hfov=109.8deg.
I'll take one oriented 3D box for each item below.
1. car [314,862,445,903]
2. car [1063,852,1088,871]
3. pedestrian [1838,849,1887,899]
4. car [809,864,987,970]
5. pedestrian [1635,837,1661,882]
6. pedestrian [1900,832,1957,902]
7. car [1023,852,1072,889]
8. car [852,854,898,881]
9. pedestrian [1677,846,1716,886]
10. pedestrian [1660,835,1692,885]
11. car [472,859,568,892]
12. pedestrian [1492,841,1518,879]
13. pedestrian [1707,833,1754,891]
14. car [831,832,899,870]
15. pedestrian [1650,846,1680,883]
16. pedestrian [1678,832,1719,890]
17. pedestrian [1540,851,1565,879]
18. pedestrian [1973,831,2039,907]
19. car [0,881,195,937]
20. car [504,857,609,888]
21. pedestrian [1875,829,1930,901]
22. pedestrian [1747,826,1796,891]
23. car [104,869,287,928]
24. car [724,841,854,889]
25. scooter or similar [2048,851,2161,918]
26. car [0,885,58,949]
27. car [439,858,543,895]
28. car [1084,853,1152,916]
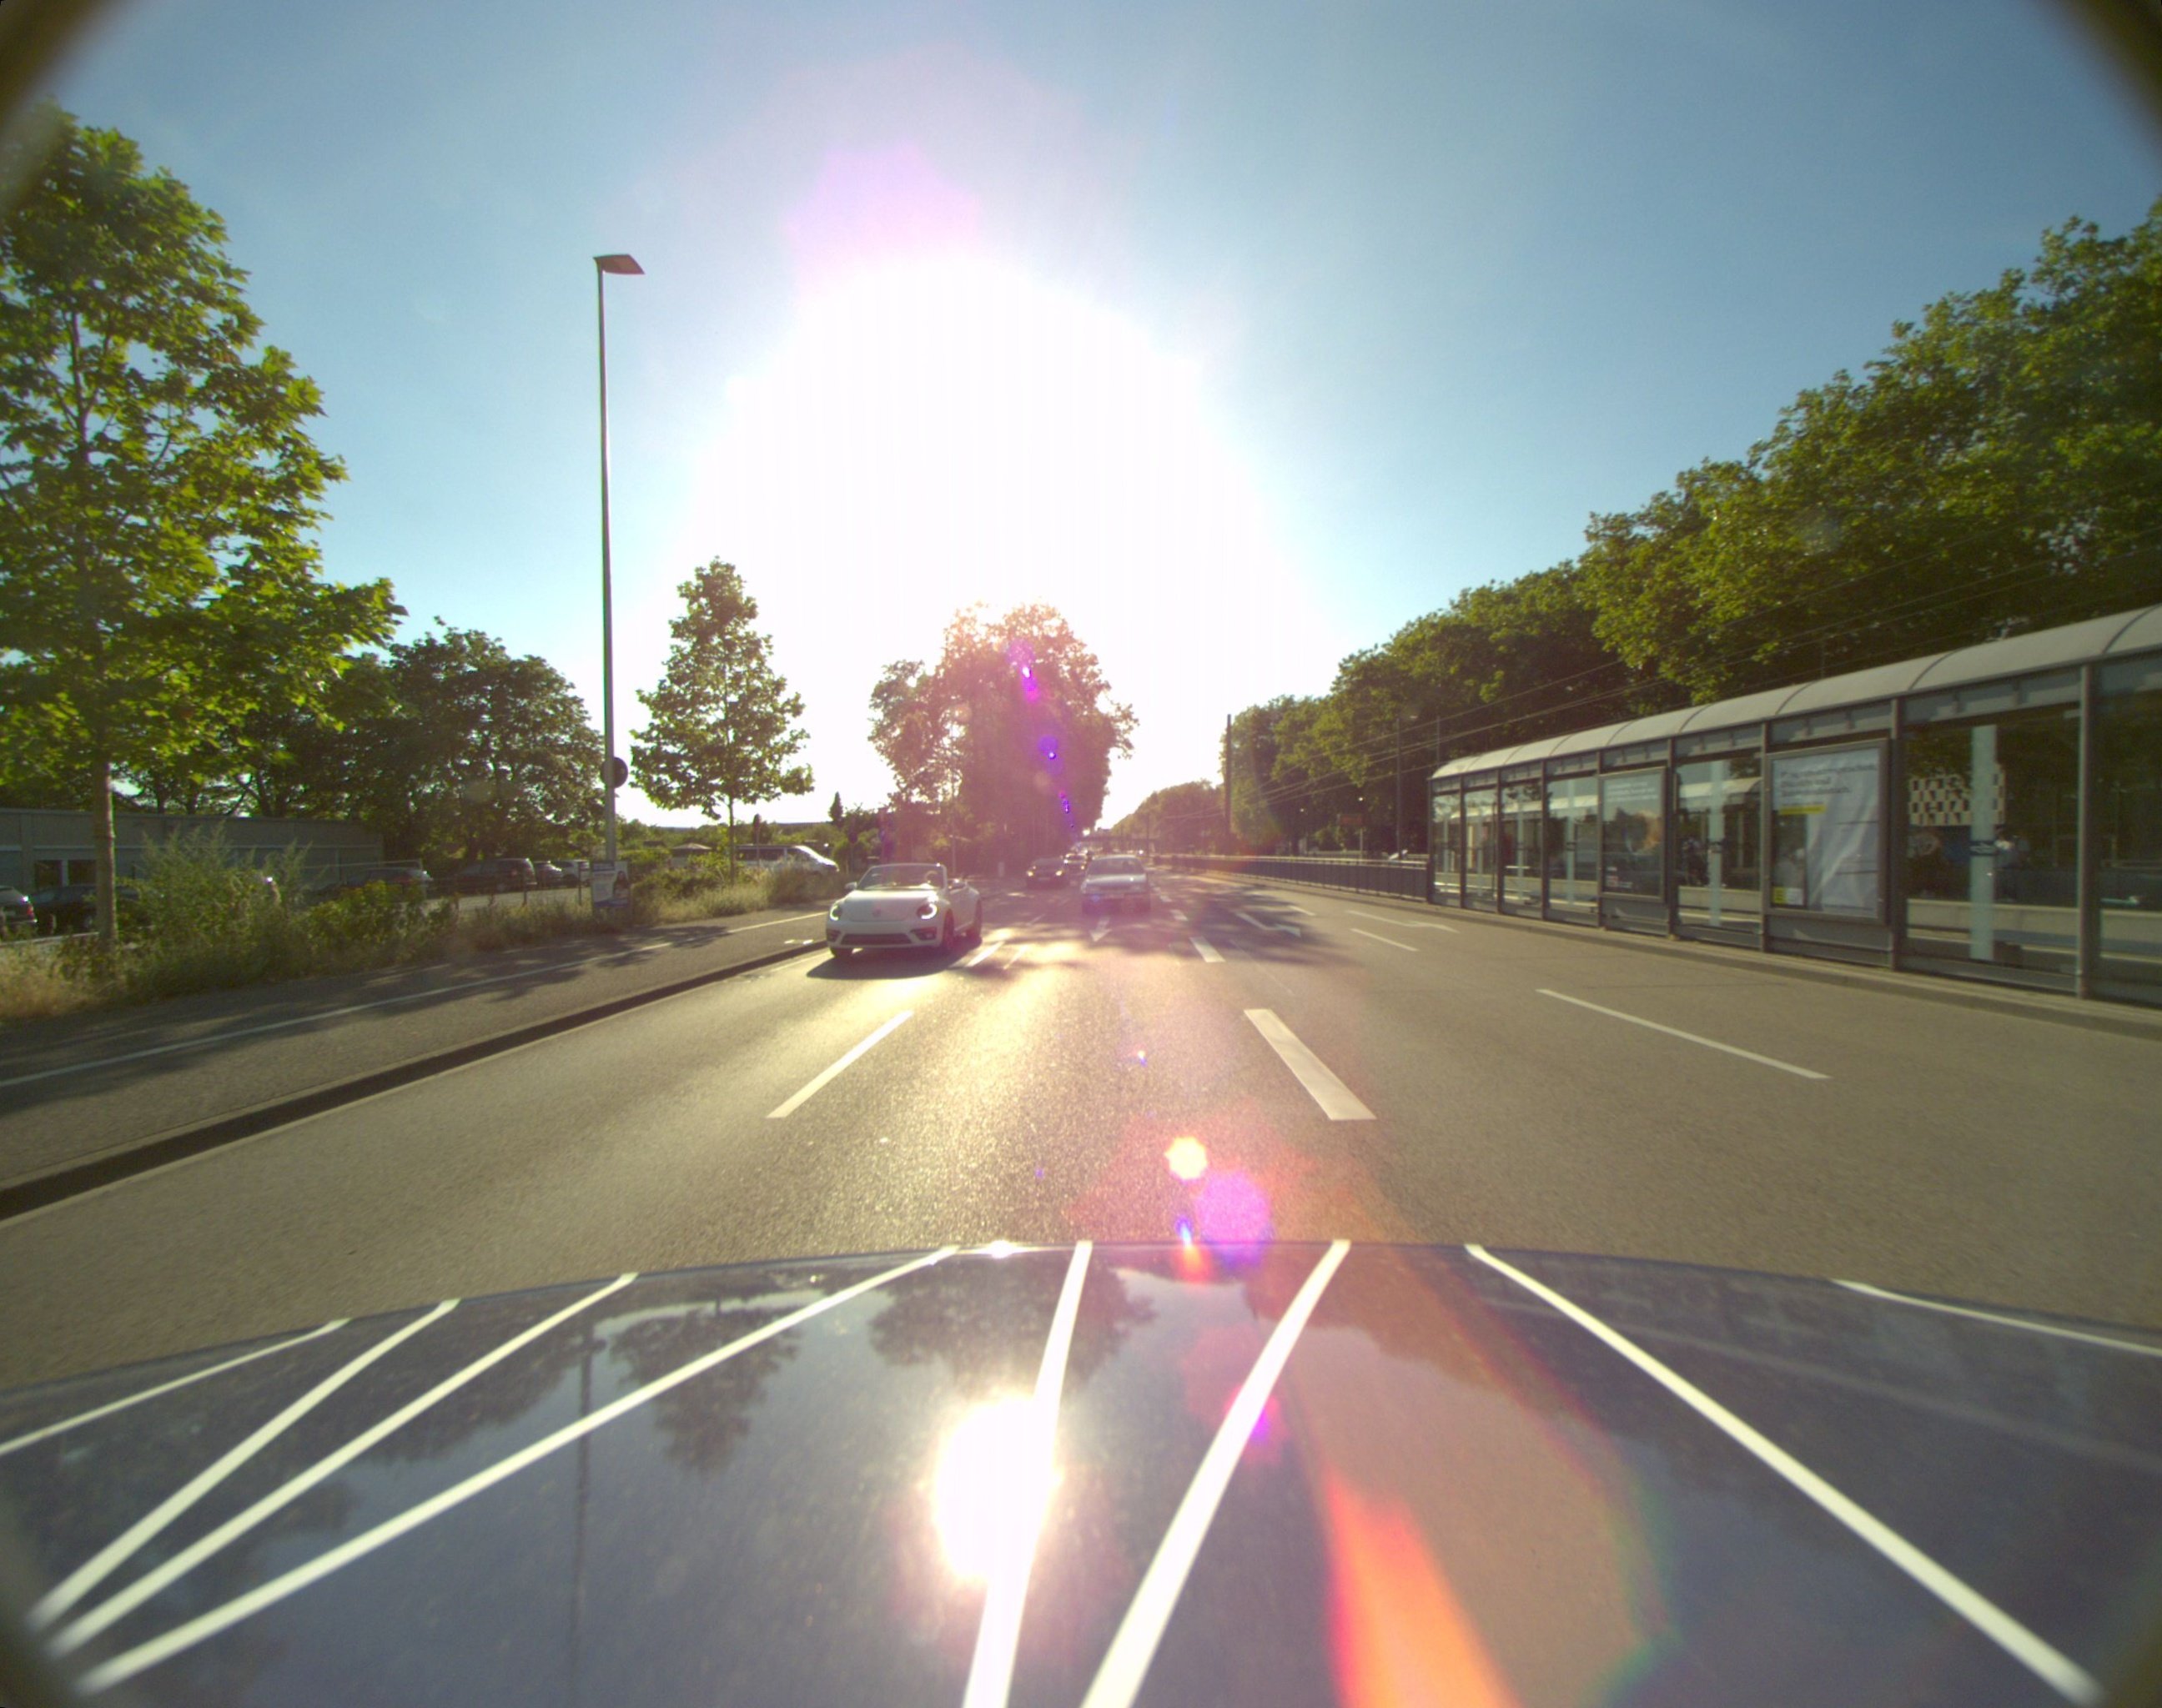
[{"bbox_3d":[-30.997,1.223,33.666,4.031,1.577,1.684,-3,1,-4],"label":"car"},{"bbox_3d":[-0.436,0.572,61.408,1.871,1.422,3.830,-3,0,1],"label":"car"},{"bbox_3d":[19.928,0.501,19.380,0.603,1.217,0.617,-2,1,3],"label":"pedestrian"},{"bbox_3d":[-2.868,0.937,12.867,1.856,1.415,3.980,-1,0,3],"label":"car"},{"bbox_3d":[20.156,0.200,27.005,0.576,1.568,0.488,0,1,8],"label":"pedestrian"},{"bbox_3d":[20.134,0.310,18.062,0.653,1.611,0.635,-2,1,3],"label":"pedestrian"},{"bbox_3d":[-1.435,0.688,34.217,1.740,1.502,4.001,-2,0,3],"label":"car"},{"bbox_3d":[-13.190,0.816,48.878,1.999,1.638,4.154,-1,0,-4],"label":"car"},{"bbox_3d":[19.682,0.378,24.320,0.654,1.245,0.685,-3,1,-3],"label":"pedestrian"},{"bbox_3d":[19.532,0.183,24.968,0.576,1.626,0.644,0,1,8],"label":"pedestrian"},{"bbox_3d":[-30.473,1.144,41.328,3.838,1.577,1.722,-3,1,-2],"label":"car"},{"bbox_3d":[19.122,0.253,34.276,0.763,1.700,0.678,0,1,0],"label":"pedestrian"},{"bbox_3d":[18.533,0.222,21.692,0.662,1.623,0.776,-2,1,1],"label":"pedestrian"},{"bbox_3d":[-15.420,-0.219,54.775,2.939,2.607,5.923,0,0,3],"label":"car"},{"bbox_3d":[20.019,0.341,26.046,0.578,1.250,0.669,-1,1,-35],"label":"pedestrian"},{"bbox_3d":[19.029,0.201,23.415,0.654,1.732,0.685,-3,1,-3],"label":"pedestrian"},{"bbox_3d":[19.799,0.464,31.900,0.679,1.155,0.624,-1,1,-3],"label":"pedestrian"},{"bbox_3d":[20.247,0.327,16.643,0.603,1.611,0.690,-2,1,3],"label":"pedestrian"},{"bbox_3d":[-29.966,1.630,23.059,3.794,1.389,1.738,-1,3,-5],"label":"car"},{"bbox_3d":[-30.422,1.034,44.171,4.662,1.560,1.858,-3,0,-4],"label":"car"},{"bbox_3d":[20.131,0.256,18.623,0.653,1.709,0.635,-2,1,3],"label":"pedestrian"},{"bbox_3d":[19.752,0.133,21.742,0.734,1.810,0.687,-3,1,-6],"label":"pedestrian"},{"bbox_3d":[-29.991,1.473,25.842,3.919,1.657,1.705,-3,2,-3],"label":"car"},{"bbox_3d":[-13.884,0.497,36.390,5.351,2.010,2.103,-3,1,-3],"label":"car"},{"bbox_3d":[19.996,0.567,14.750,0.666,1.227,1.372,-1,1,-1],"label":"scooter or similar"},{"bbox_3d":[-30.002,1.714,19.852,3.793,1.548,1.726,-1,3,-5],"label":"car"},{"bbox_3d":[-30.096,1.136,38.857,3.874,1.631,1.664,-3,1,-2],"label":"car"},{"bbox_3d":[0.907,0.724,20.158,1.602,1.440,3.799,-2,1,0],"label":"car"}]
